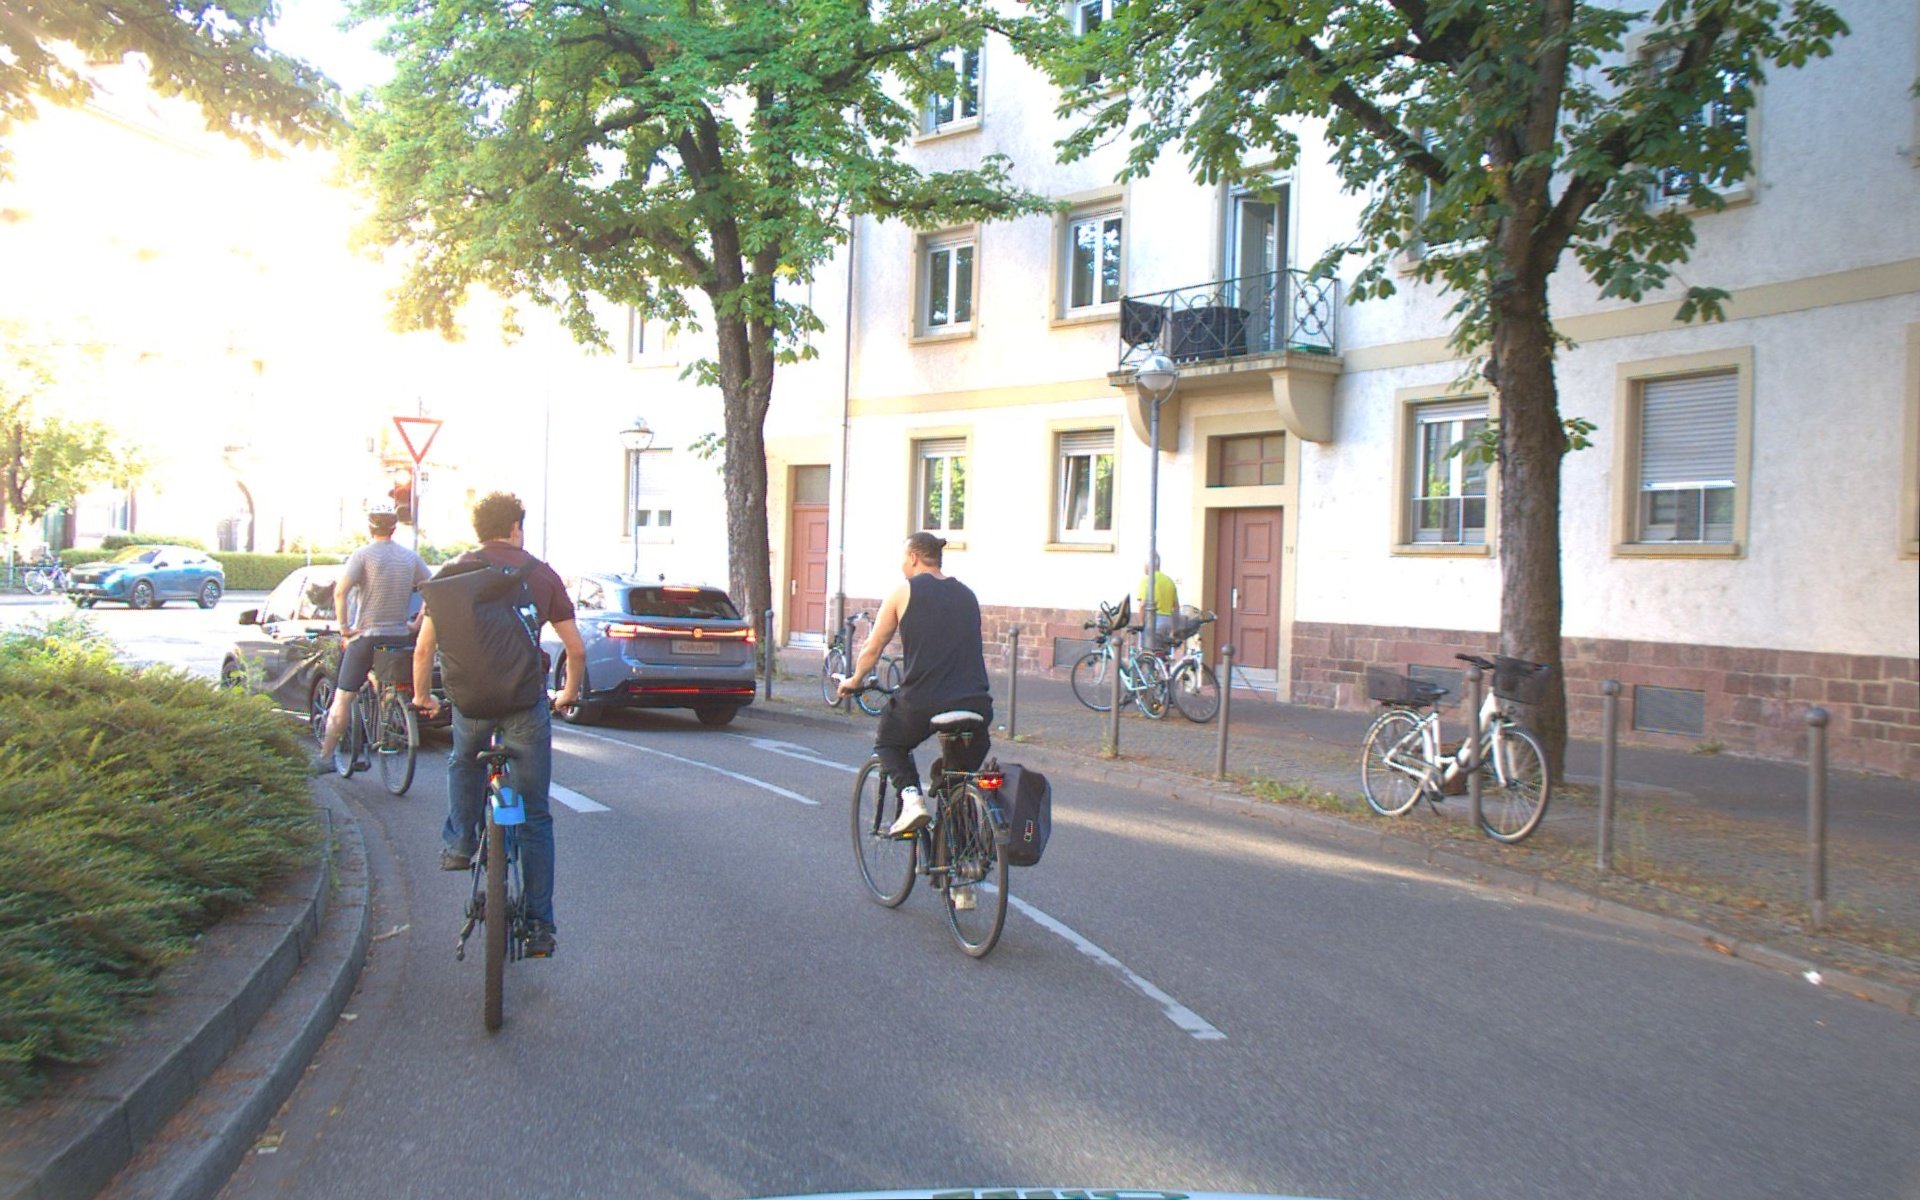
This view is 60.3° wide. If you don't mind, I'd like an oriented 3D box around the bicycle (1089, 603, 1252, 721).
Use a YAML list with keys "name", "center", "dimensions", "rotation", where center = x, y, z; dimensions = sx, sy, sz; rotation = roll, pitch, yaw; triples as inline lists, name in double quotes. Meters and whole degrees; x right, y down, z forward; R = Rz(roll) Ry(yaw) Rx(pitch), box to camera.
- name: "bicycle"
  center: [2.242, 0.635, 17.944]
  dimensions: [0.576, 1.133, 2.095]
  rotation: [1, 1, -31]

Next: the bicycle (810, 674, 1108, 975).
- name: "bicycle"
  center: [-0.081, 0.910, 7.367]
  dimensions: [0.726, 1.029, 2.051]
  rotation: [2, 0, -17]

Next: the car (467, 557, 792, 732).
- name: "car"
  center: [-3.641, 0.398, 17.733]
  dimensions: [1.878, 1.605, 3.948]
  rotation: [1, 1, -37]

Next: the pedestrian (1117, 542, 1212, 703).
- name: "pedestrian"
  center: [2.408, 0.245, 19.417]
  dimensions: [0.648, 1.826, 0.992]
  rotation: [2, 2, 42]

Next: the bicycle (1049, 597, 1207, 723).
- name: "bicycle"
  center: [1.754, 0.600, 17.606]
  dimensions: [0.489, 1.192, 2.094]
  rotation: [-3, 3, -31]

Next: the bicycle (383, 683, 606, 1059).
- name: "bicycle"
  center: [-1.724, 0.898, 6.231]
  dimensions: [0.663, 1.072, 2.053]
  rotation: [1, 0, -15]

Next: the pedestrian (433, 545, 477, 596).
- name: "pedestrian"
  center: [-20.226, -1.191, 66.284]
  dimensions: [1.133, 1.996, 1.388]
  rotation: [2, 1, 8]

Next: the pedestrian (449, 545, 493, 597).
- name: "pedestrian"
  center: [-19.366, -1.127, 65.491]
  dimensions: [1.133, 1.996, 1.388]
  rotation: [2, 1, 8]

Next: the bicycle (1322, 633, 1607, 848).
- name: "bicycle"
  center: [3.176, 0.835, 10.623]
  dimensions: [0.608, 1.132, 1.977]
  rotation: [-2, 2, -24]

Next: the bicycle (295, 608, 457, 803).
- name: "bicycle"
  center: [-4.133, 0.688, 11.606]
  dimensions: [0.592, 1.182, 2.018]
  rotation: [2, 1, -33]

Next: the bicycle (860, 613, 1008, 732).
- name: "bicycle"
  center: [-0.294, 0.710, 17.026]
  dimensions: [0.610, 1.076, 1.907]
  rotation: [-1, 2, -33]

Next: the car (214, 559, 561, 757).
- name: "car"
  center: [-5.363, 0.410, 15.220]
  dimensions: [1.801, 1.570, 3.903]
  rotation: [-1, 2, -39]

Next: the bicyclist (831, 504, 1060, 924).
- name: "bicyclist"
  center: [-0.085, 0.463, 7.284]
  dimensions: [0.740, 1.711, 0.909]
  rotation: [2, 1, -17]

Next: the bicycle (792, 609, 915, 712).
- name: "bicycle"
  center: [-1.210, 0.641, 18.315]
  dimensions: [0.514, 1.016, 2.172]
  rotation: [1, 1, -27]

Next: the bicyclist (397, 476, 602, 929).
- name: "bicyclist"
  center: [-1.714, 0.348, 6.227]
  dimensions: [0.660, 1.541, 1.065]
  rotation: [1, 0, -14]

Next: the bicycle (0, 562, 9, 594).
- name: "bicycle"
  center: [-26.604, -0.619, 44.963]
  dimensions: [0.440, 0.876, 1.222]
  rotation: [2, 1, 28]

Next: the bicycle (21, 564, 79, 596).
- name: "bicycle"
  center: [-26.049, -0.581, 47.360]
  dimensions: [0.440, 0.876, 1.445]
  rotation: [2, 1, 28]

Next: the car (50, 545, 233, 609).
- name: "car"
  center: [-21.493, -0.591, 43.649]
  dimensions: [1.951, 1.522, 4.378]
  rotation: [2, 1, 13]

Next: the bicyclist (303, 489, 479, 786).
- name: "bicyclist"
  center: [-3.956, 0.231, 11.462]
  dimensions: [0.843, 1.931, 1.125]
  rotation: [1, 1, -35]
